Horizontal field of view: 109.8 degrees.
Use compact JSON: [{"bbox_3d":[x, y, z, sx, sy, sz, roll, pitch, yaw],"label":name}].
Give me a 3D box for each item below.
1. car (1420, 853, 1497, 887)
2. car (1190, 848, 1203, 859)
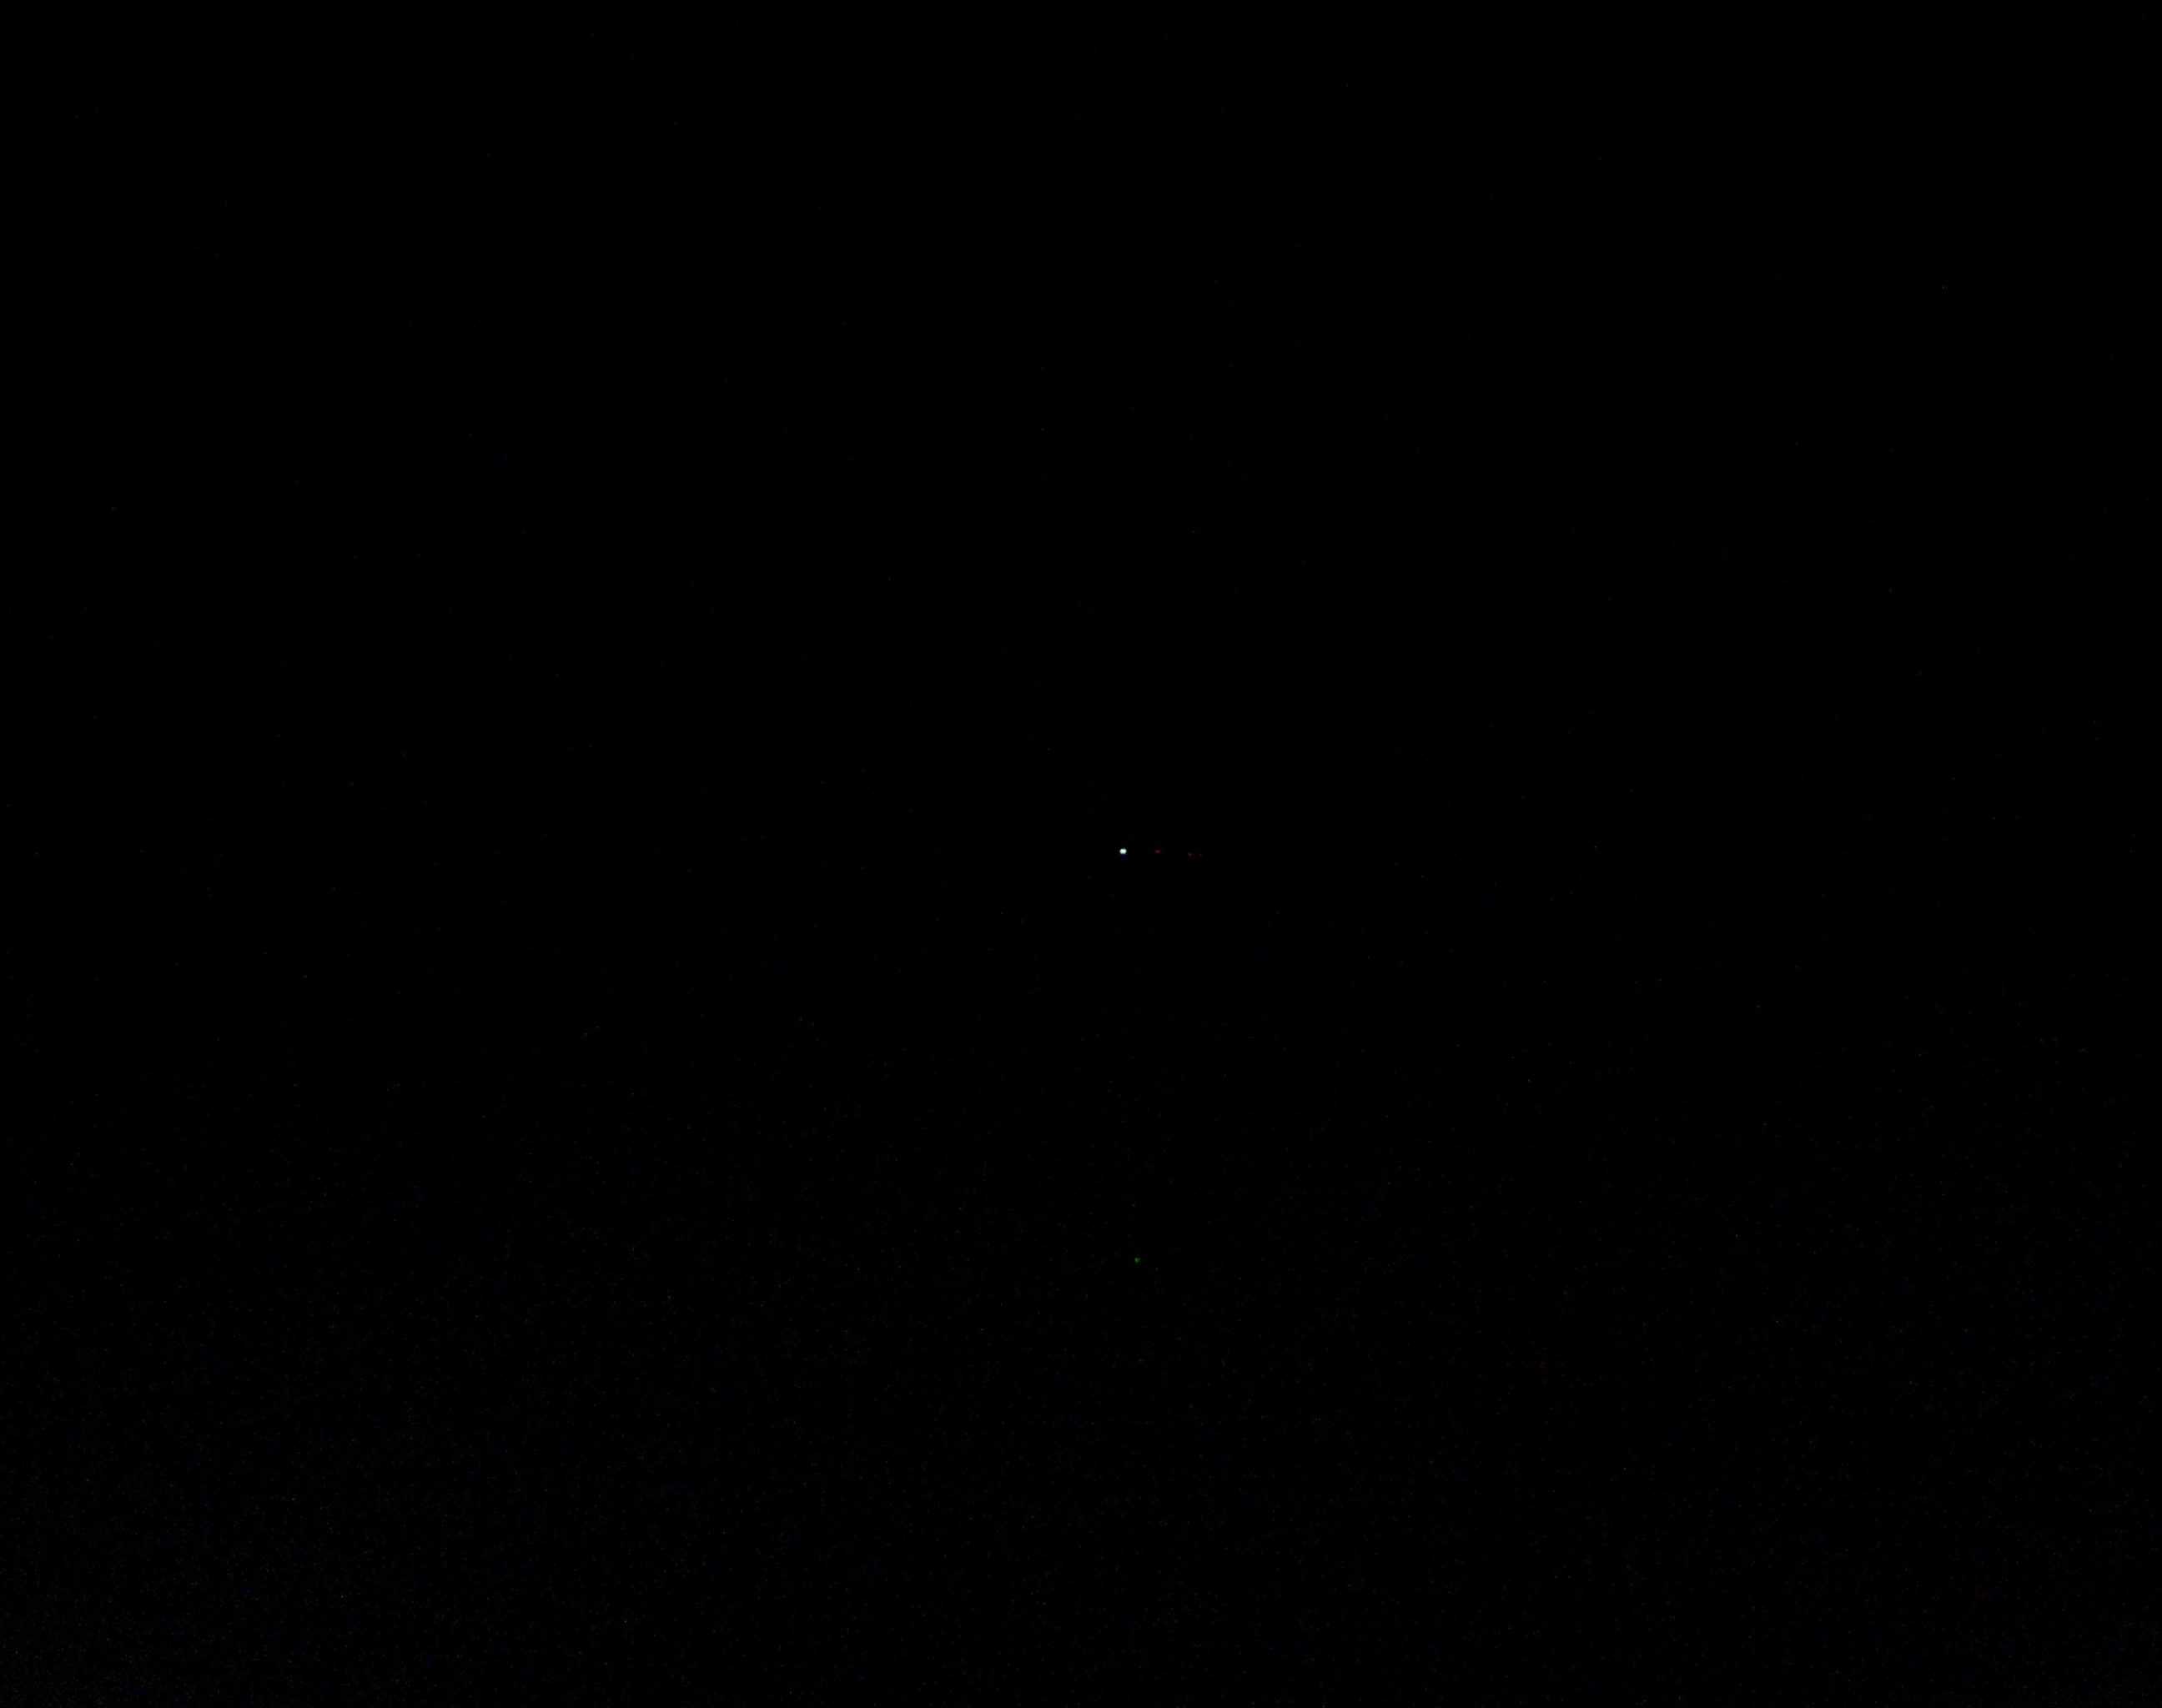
[{"bbox_3d":[18.062,0.748,36.597,1.830,1.499,4.000,-2,0,2],"label":"car"},{"bbox_3d":[21.964,-0.199,144.426,1.998,2.002,4.609,-2,1,2],"label":"car"}]
